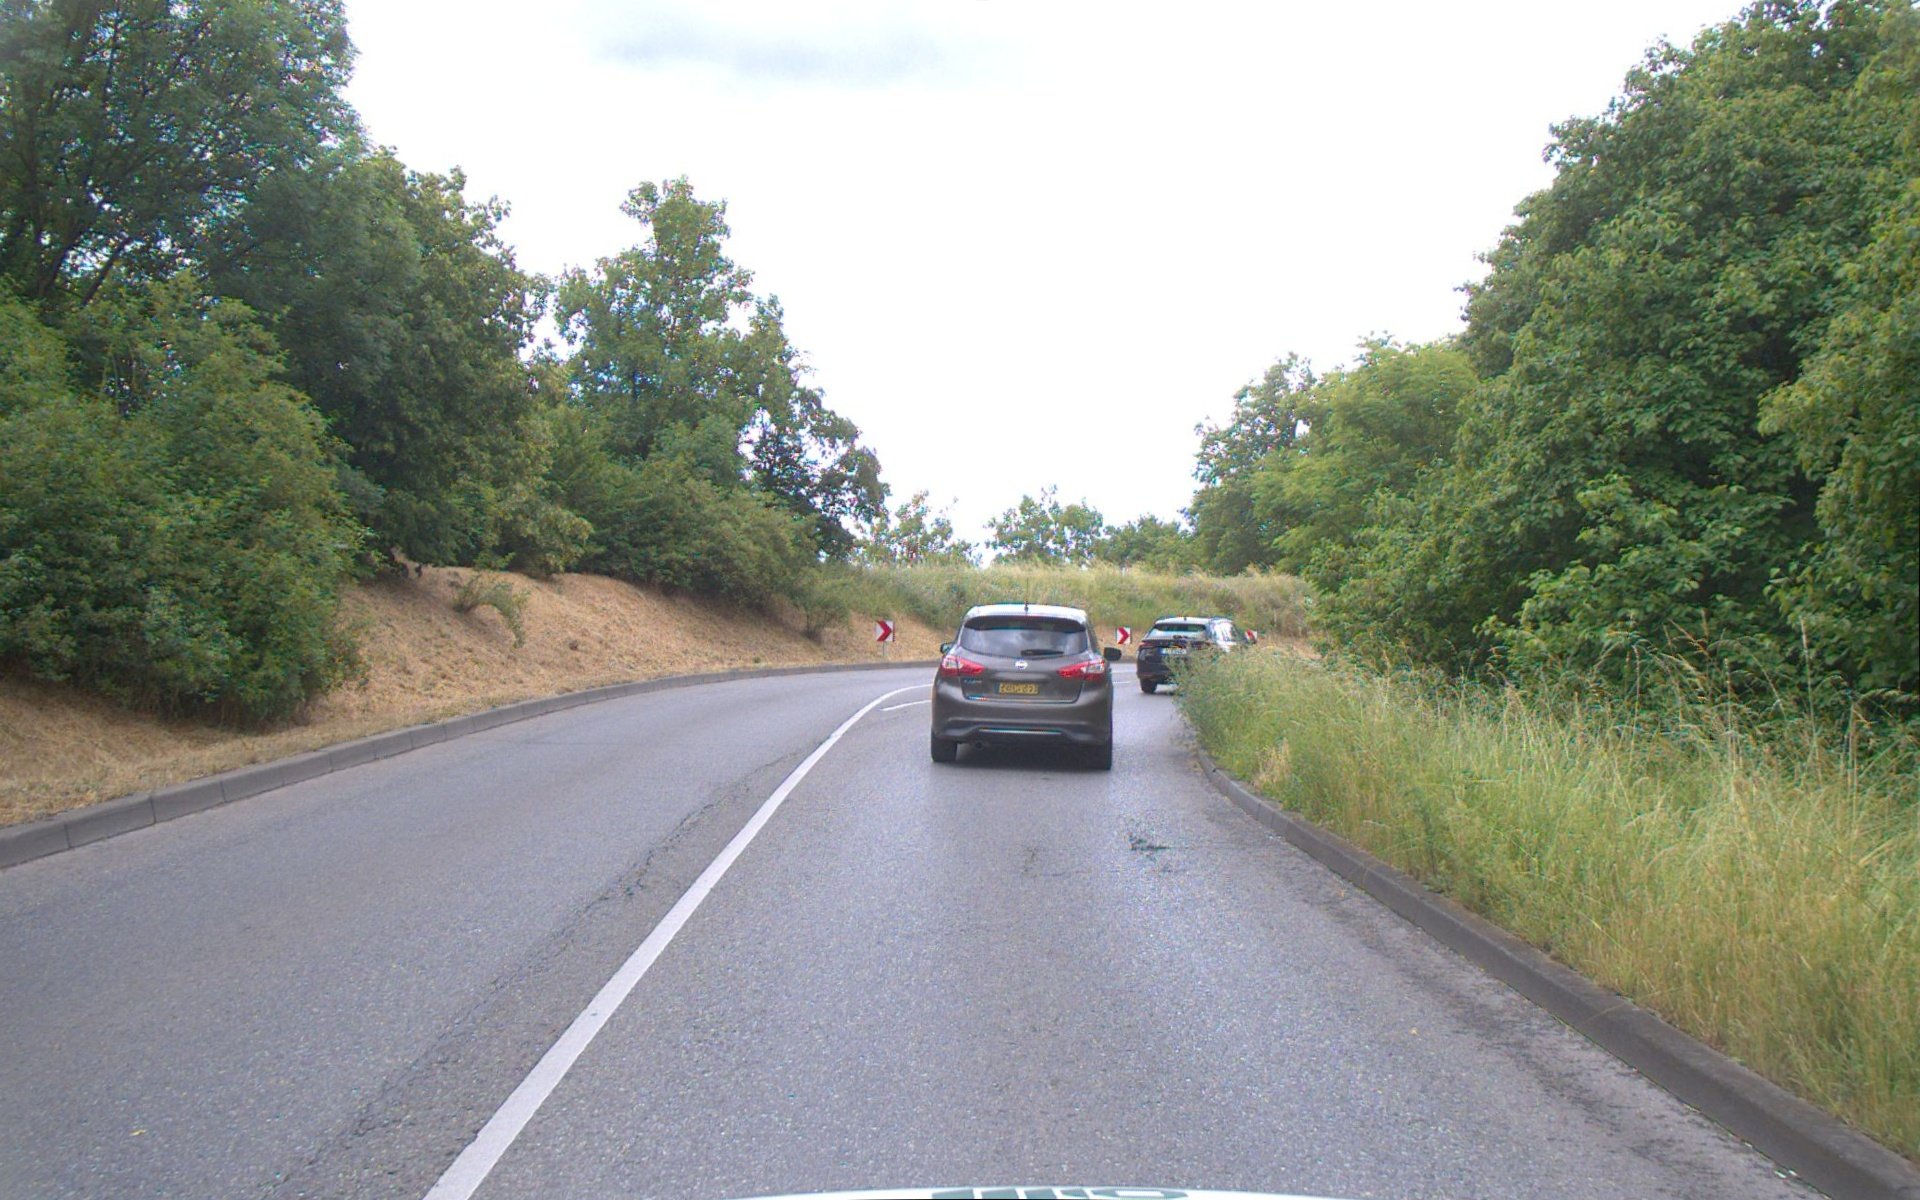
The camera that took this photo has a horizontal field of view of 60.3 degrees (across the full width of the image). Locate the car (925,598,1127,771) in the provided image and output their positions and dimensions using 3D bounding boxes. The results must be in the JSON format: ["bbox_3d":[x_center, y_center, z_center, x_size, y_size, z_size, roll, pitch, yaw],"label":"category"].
[{"bbox_3d":[0.744,0.762,17.026,1.806,1.519,4.002,1,0,4],"label":"car"}]

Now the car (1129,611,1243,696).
[{"bbox_3d":[4.524,0.999,32.659,1.859,1.492,4.003,1,0,13],"label":"car"}]
